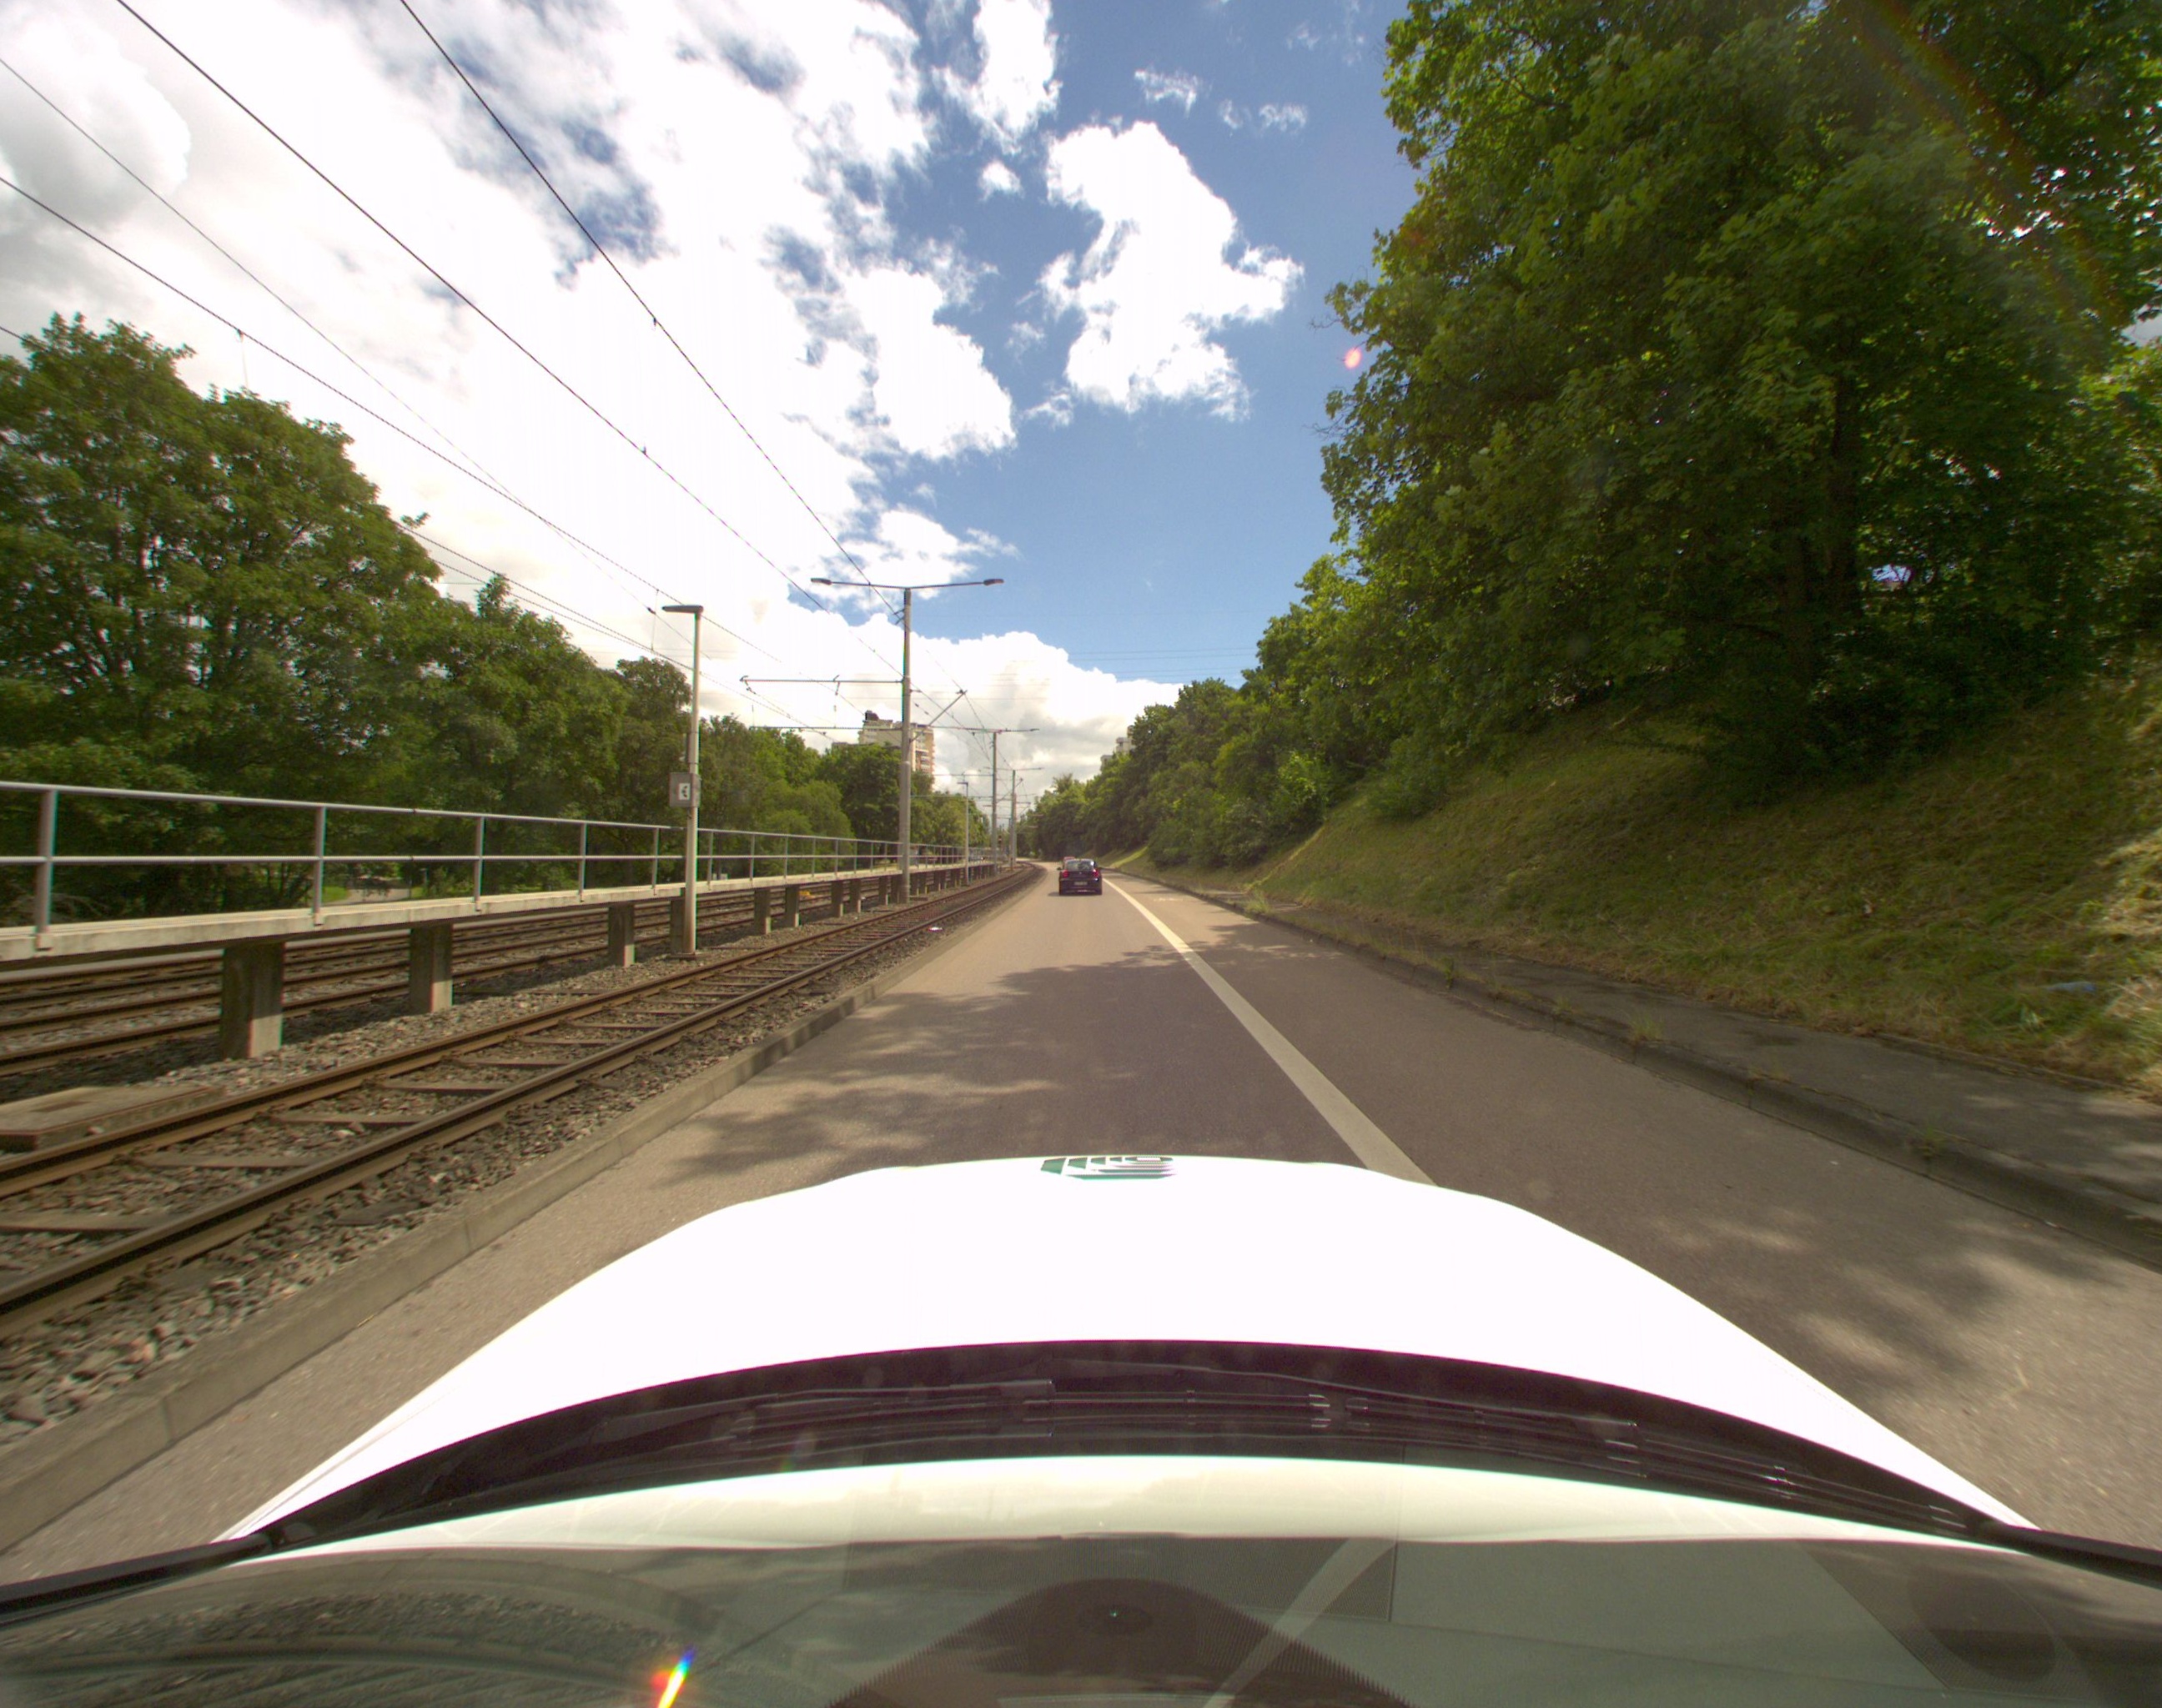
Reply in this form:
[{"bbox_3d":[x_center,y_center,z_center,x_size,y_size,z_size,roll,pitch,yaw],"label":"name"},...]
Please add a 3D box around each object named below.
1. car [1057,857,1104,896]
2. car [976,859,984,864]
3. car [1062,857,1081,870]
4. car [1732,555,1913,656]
[{"bbox_3d":[-0.038,0.867,33.120,1.776,1.459,3.919,-1,0,-1],"label":"car"},{"bbox_3d":[-29.021,2.084,234.679,1.832,1.391,4.855,-2,0,-3],"label":"car"},{"bbox_3d":[-1.119,1.041,91.422,1.779,1.460,3.911,0,-1,-7],"label":"car"},{"bbox_3d":[18.175,-6.054,20.168,1.445,1.442,3.332,-1,0,0],"label":"car"}]
